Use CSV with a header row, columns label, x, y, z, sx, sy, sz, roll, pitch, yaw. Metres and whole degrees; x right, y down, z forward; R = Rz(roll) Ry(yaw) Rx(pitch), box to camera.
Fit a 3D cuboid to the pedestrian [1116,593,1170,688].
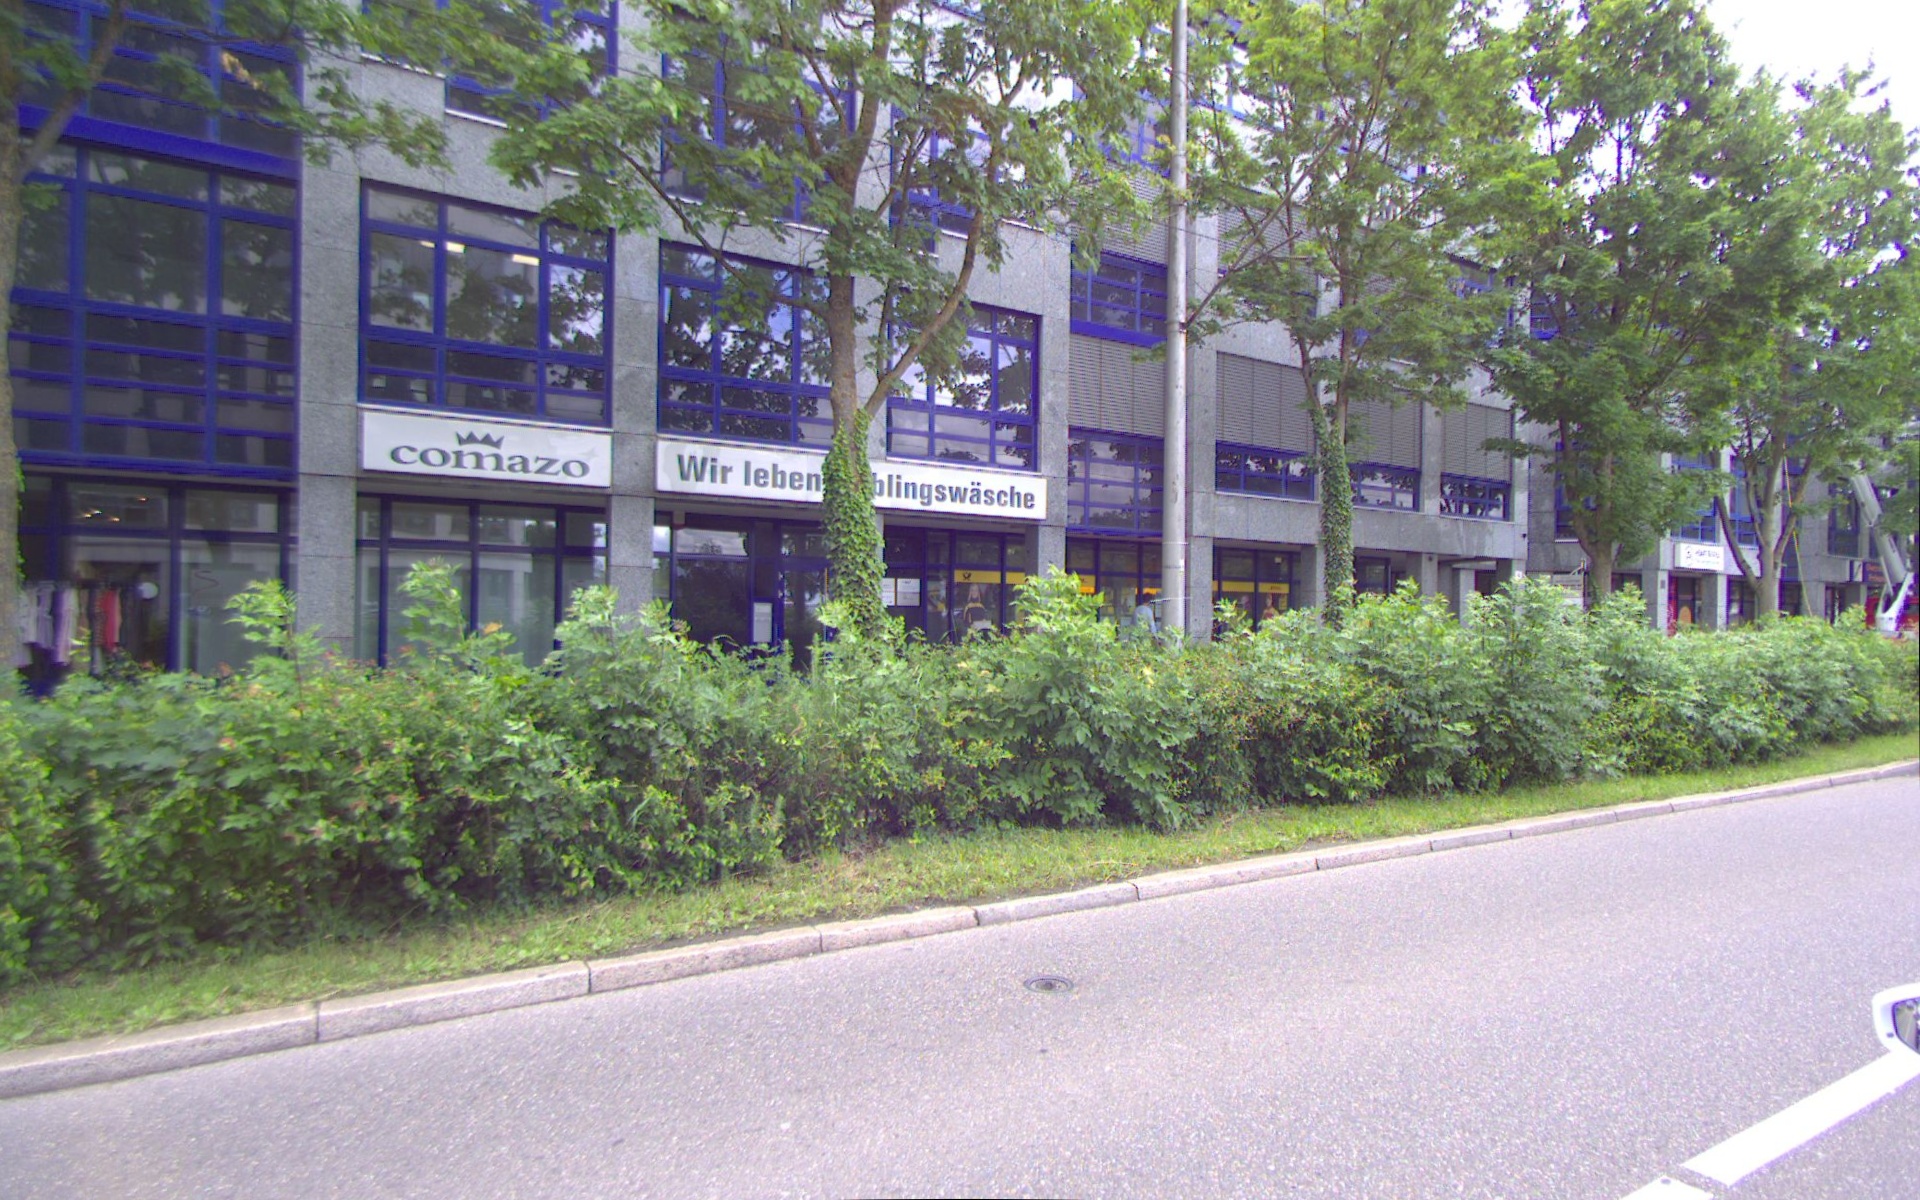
label,x,y,z,sx,sy,sz,roll,pitch,yaw
pedestrian,3.788,0.824,20.807,0.723,1.919,0.771,2,0,-30
